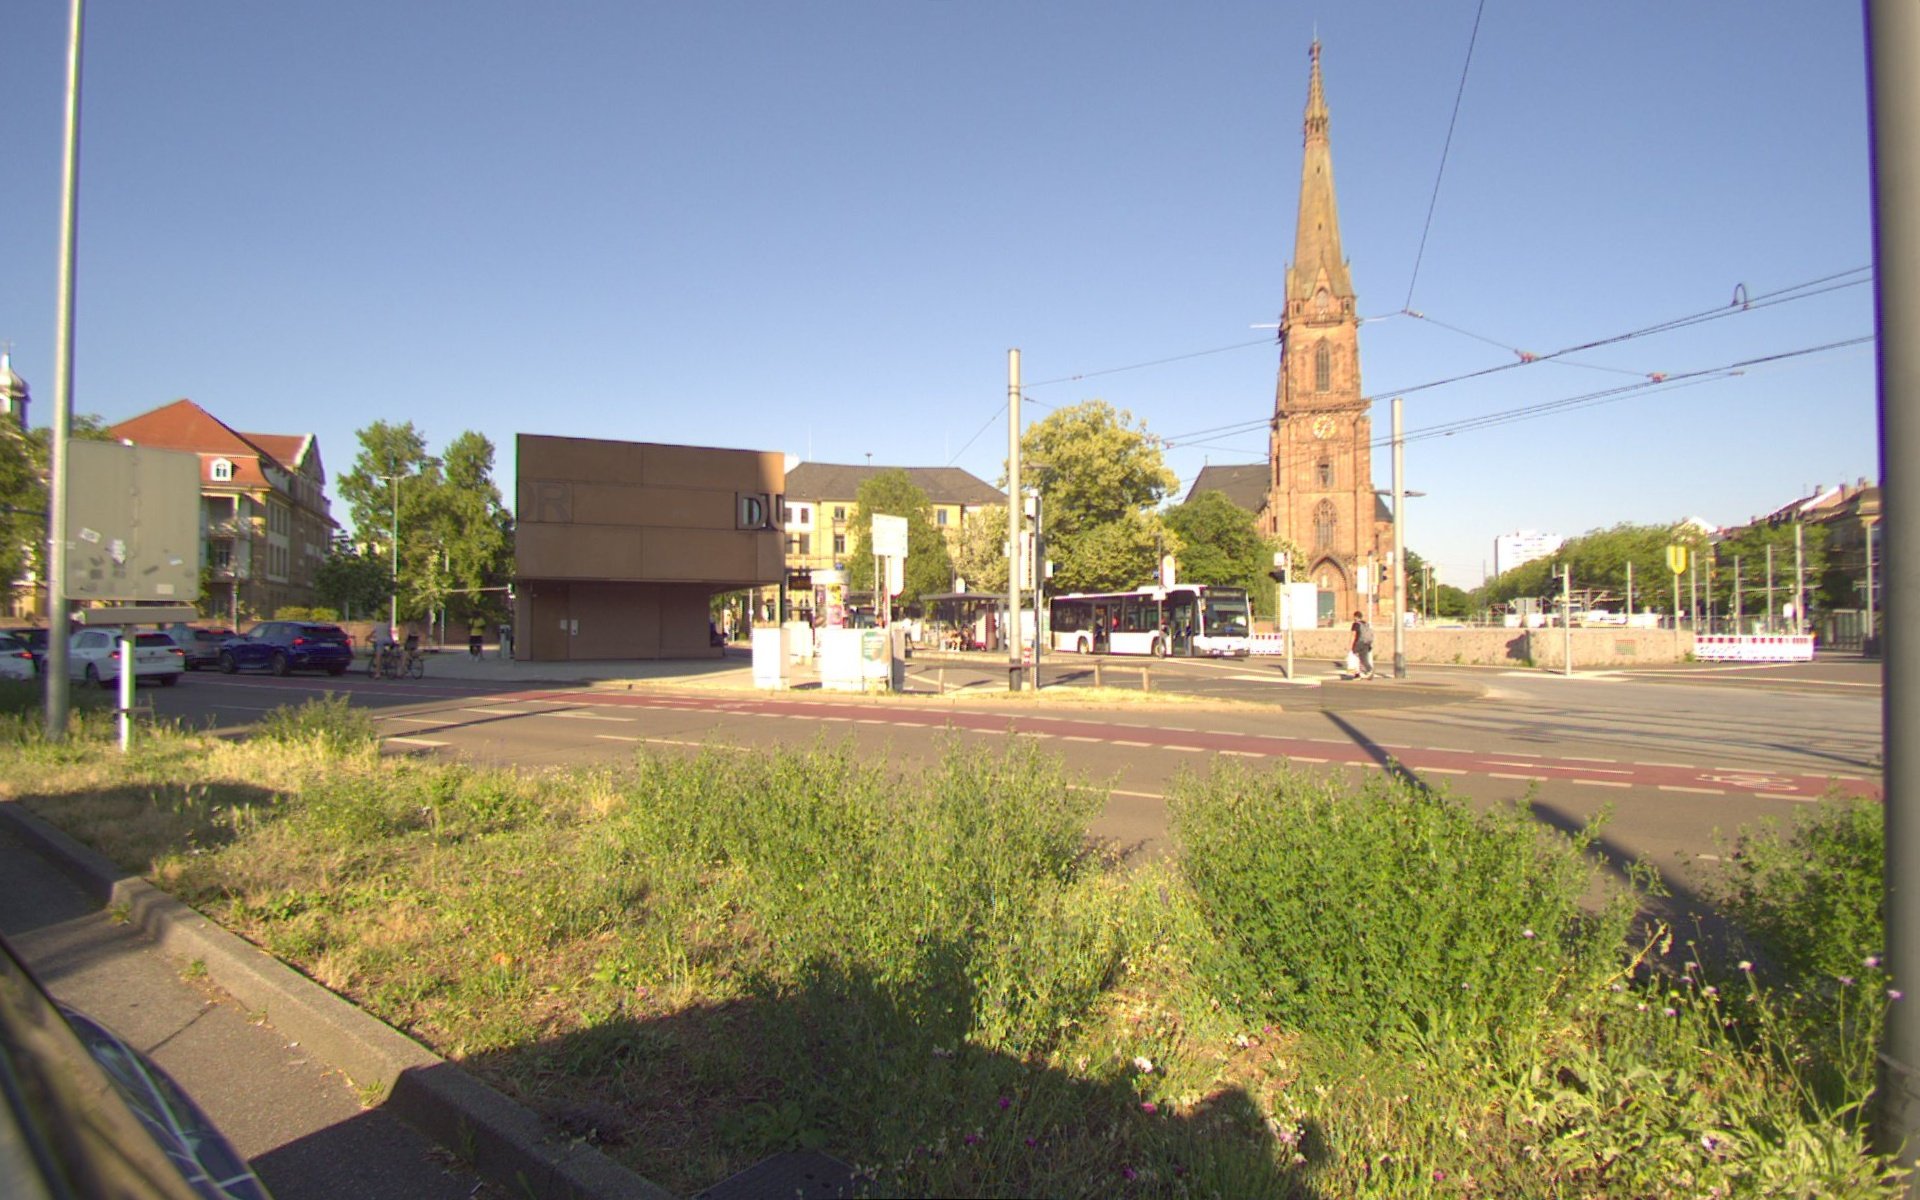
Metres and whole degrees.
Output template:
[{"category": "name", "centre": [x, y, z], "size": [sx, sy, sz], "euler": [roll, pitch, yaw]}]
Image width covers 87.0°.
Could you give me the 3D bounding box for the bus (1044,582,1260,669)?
[{"category": "bus", "centre": [7.676, 0.962, 43.274], "size": [2.655, 3.174, 12.216], "euler": [-1, 0, -23]}]

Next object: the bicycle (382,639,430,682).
[{"category": "bicycle", "centre": [-15.982, 1.733, 29.200], "size": [1.388, 1.201, 0.461], "euler": [-1, 0, 24]}]

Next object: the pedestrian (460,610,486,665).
[{"category": "pedestrian", "centre": [-18.506, 1.401, 38.450], "size": [0.765, 2.029, 0.775], "euler": [-1, 0, -37]}]

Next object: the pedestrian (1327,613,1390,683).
[{"category": "pedestrian", "centre": [10.012, 1.176, 25.439], "size": [1.025, 1.696, 1.007], "euler": [-1, 0, -25]}]

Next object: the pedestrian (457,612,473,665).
[{"category": "pedestrian", "centre": [-19.325, 1.496, 39.490], "size": [0.460, 2.029, 0.658], "euler": [-1, 0, -32]}]

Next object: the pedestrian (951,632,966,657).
[{"category": "pedestrian", "centre": [-0.056, 2.188, 49.908], "size": [0.531, 1.196, 0.660], "euler": [-1, 0, -21]}]

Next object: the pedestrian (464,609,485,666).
[{"category": "pedestrian", "centre": [-17.636, 1.350, 36.737], "size": [0.645, 2.029, 0.470], "euler": [-1, 0, -29]}]

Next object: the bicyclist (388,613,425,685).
[{"category": "bicyclist", "centre": [-15.954, 1.405, 29.179], "size": [0.705, 2.029, 0.605], "euler": [-1, -2, 25]}]

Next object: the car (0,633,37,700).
[{"category": "car", "centre": [-23.269, 1.520, 23.240], "size": [4.168, 1.471, 1.741], "euler": [-1, 0, 27]}]

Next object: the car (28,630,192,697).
[{"category": "car", "centre": [-21.485, 1.541, 25.551], "size": [4.375, 1.503, 1.831], "euler": [-1, 0, 30]}]

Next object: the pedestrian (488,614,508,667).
[{"category": "pedestrian", "centre": [-18.088, 1.574, 39.613], "size": [0.645, 2.029, 0.470], "euler": [-1, 0, -29]}]

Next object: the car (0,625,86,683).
[{"category": "car", "centre": [-26.409, 1.493, 28.980], "size": [4.190, 1.471, 1.731], "euler": [-1, 0, 44]}]

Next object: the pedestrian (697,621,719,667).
[{"category": "pedestrian", "centre": [-11.259, 1.966, 45.255], "size": [0.762, 2.029, 0.778], "euler": [-1, 0, -2]}]

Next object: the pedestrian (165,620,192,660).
[{"category": "pedestrian", "centre": [-37.131, 1.893, 48.084], "size": [0.787, 1.911, 0.612], "euler": [0, -2, -9]}]

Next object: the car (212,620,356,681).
[{"category": "car", "centre": [-20.104, 1.461, 30.078], "size": [4.167, 1.703, 1.741], "euler": [-1, -1, 27]}]

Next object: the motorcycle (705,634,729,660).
[{"category": "motorcycle", "centre": [-10.104, 1.950, 42.076], "size": [0.935, 1.075, 0.331], "euler": [-1, 0, -11]}]

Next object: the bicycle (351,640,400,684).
[{"category": "bicycle", "centre": [-16.550, 1.740, 28.634], "size": [1.388, 1.201, 0.461], "euler": [-1, 0, 24]}]

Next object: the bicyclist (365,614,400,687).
[{"category": "bicyclist", "centre": [-16.287, 1.406, 28.548], "size": [0.562, 2.029, 0.605], "euler": [-1, -2, 25]}]

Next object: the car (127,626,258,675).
[{"category": "car", "centre": [-25.211, 1.651, 33.217], "size": [4.375, 1.503, 1.831], "euler": [-1, -4, 30]}]

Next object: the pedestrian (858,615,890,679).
[{"category": "pedestrian", "centre": [-2.430, 1.306, 28.505], "size": [0.702, 1.771, 0.584], "euler": [-1, 0, -30]}]
